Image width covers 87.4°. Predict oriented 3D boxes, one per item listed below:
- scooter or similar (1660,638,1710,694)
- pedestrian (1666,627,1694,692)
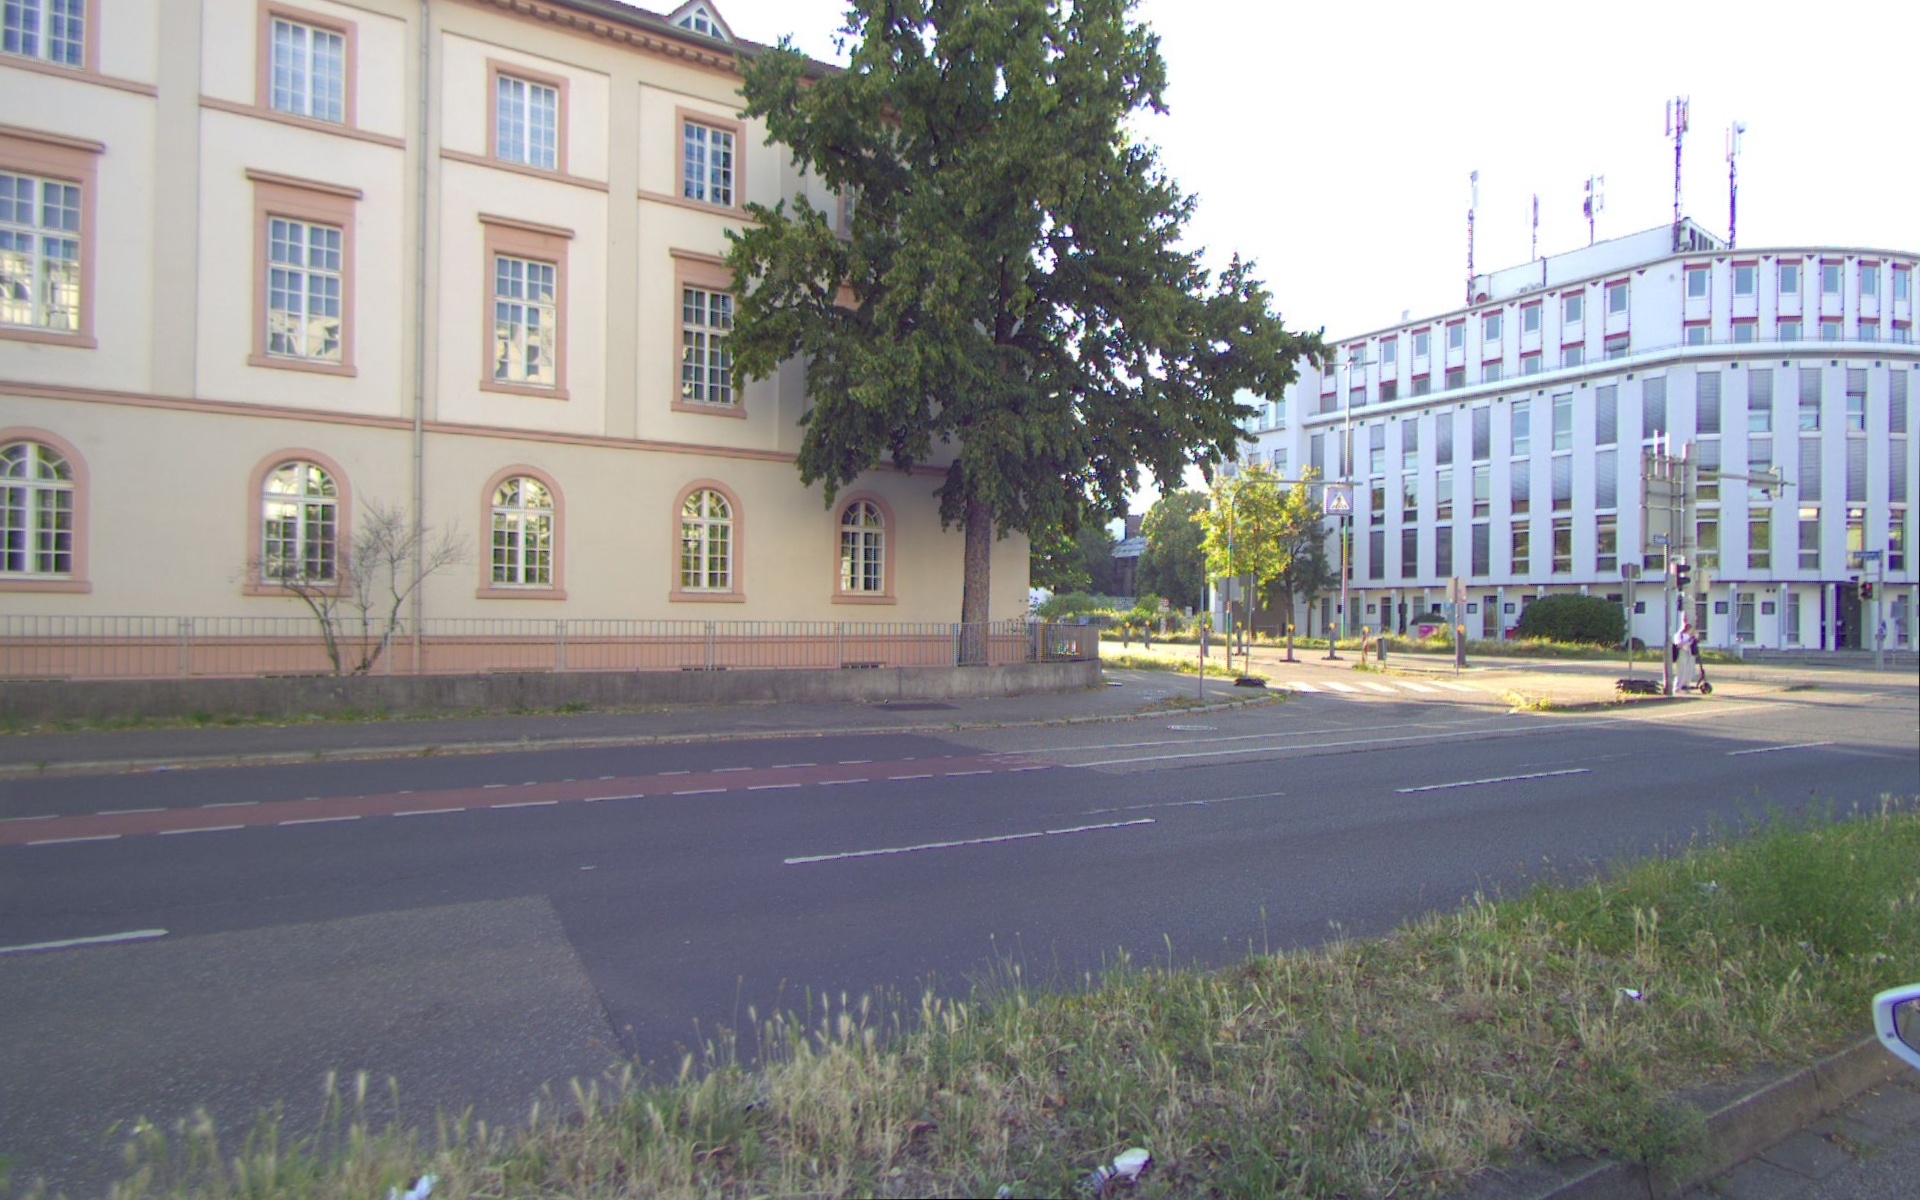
[{"bbox_3d":[16.935,1.526,23.474,0.368,1.250,0.885,1,-1,-40],"label":"scooter or similar"},{"bbox_3d":[17.005,1.392,23.722,0.332,1.525,0.470,1,-1,-41],"label":"pedestrian"}]
